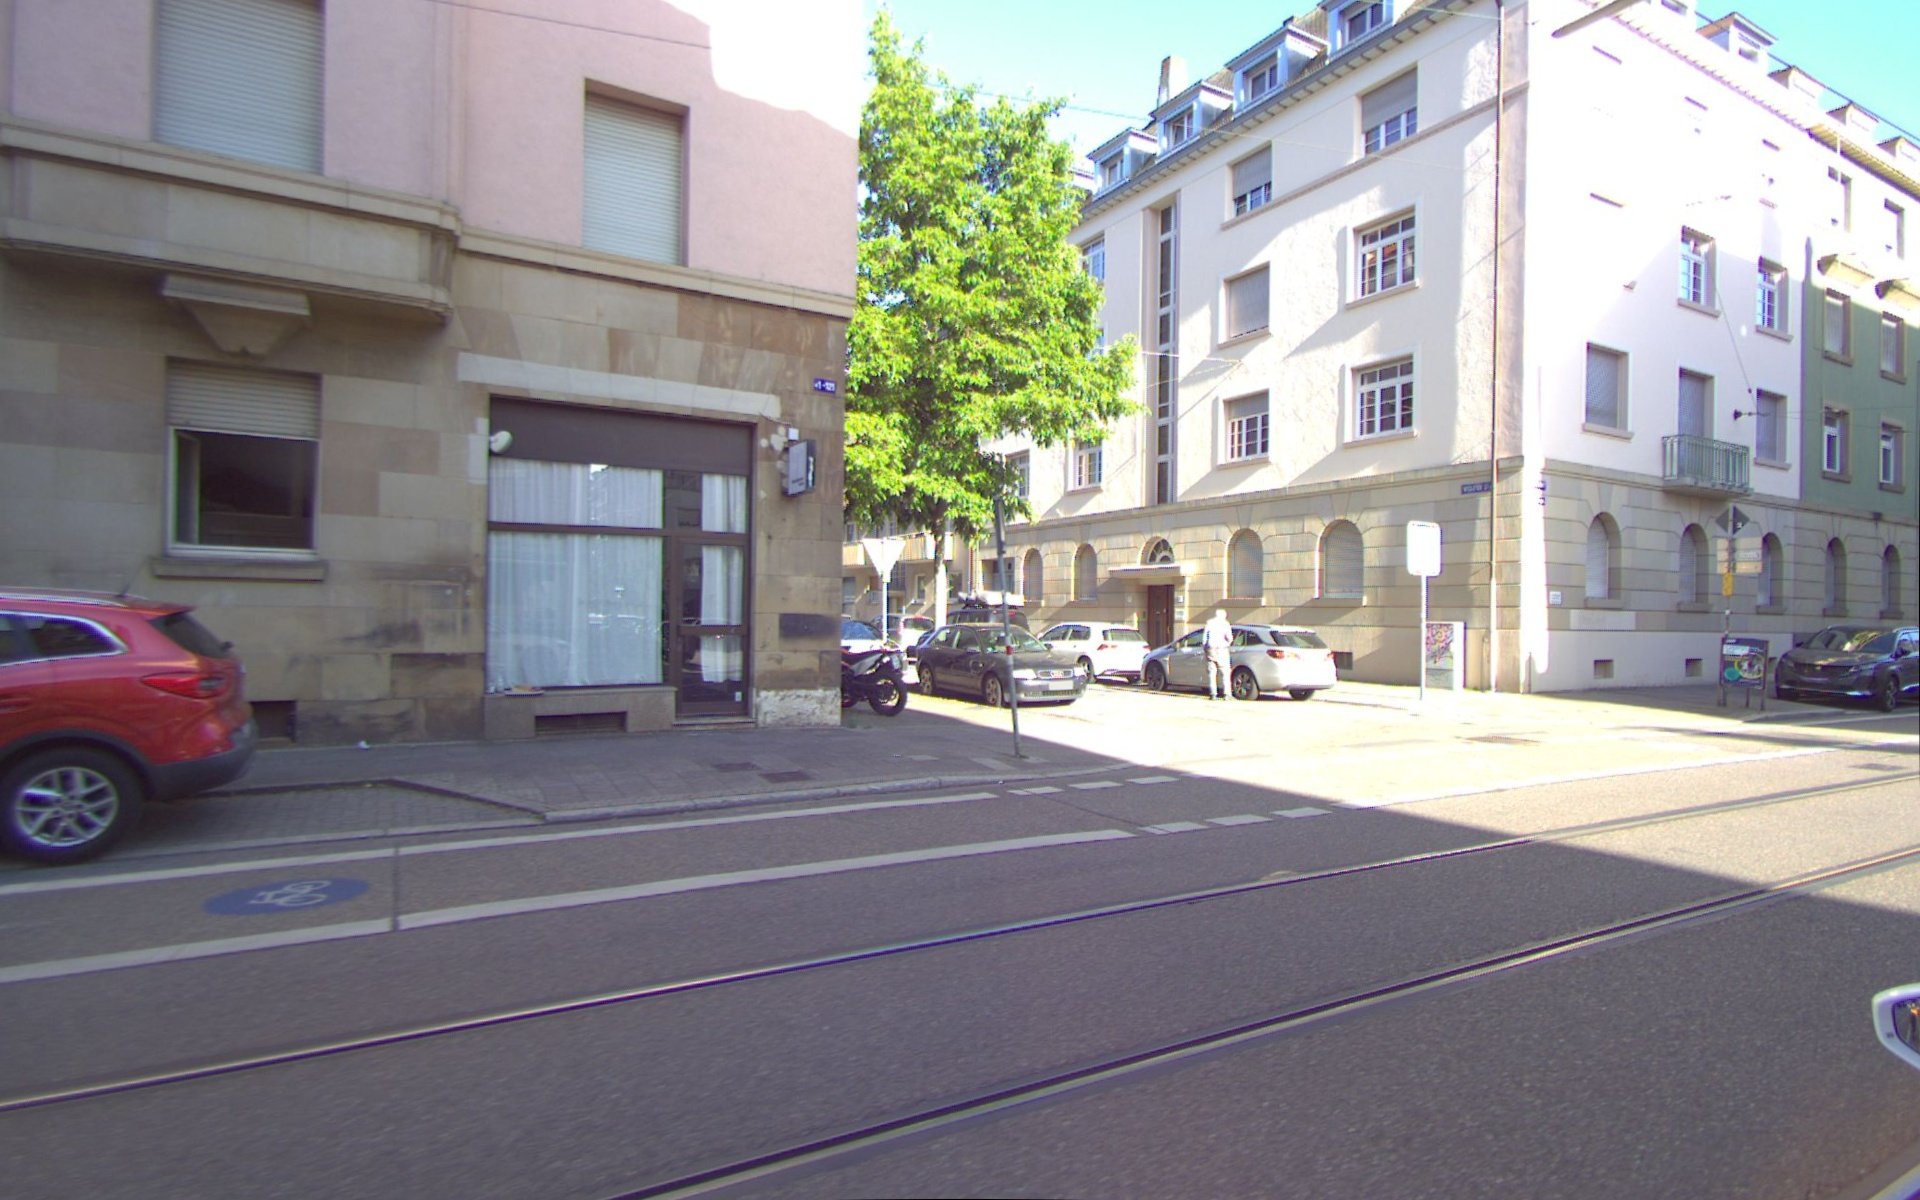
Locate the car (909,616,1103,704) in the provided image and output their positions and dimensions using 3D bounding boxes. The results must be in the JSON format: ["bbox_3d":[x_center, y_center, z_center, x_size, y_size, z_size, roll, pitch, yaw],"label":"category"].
[{"bbox_3d":[0.729,1.025,18.568,1.727,1.412,3.968,1,-1,-30],"label":"car"}]

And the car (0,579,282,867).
[{"bbox_3d":[-6.772,0.683,6.042,4.348,1.628,1.773,1,1,-32],"label":"car"}]

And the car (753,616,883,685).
[{"bbox_3d":[-3.450,1.124,23.820,1.727,1.413,3.968,0,0,-30],"label":"car"}]

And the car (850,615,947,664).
[{"bbox_3d":[-2.190,1.308,34.731,1.761,1.542,3.968,0,0,-30],"label":"car"}]

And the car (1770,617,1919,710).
[{"bbox_3d":[19.219,1.267,21.273,4.616,1.713,1.773,1,1,-32],"label":"car"}]

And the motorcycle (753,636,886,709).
[{"bbox_3d":[-2.183,1.104,15.599,1.995,1.049,0.557,0,-1,17],"label":"motorcycle"}]

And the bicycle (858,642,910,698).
[{"bbox_3d":[-1.424,1.271,18.610,0.468,0.945,1.782,1,-1,-21],"label":"bicycle"}]

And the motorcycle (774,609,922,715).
[{"bbox_3d":[-1.581,0.871,14.480,1.985,1.437,0.951,1,-1,0],"label":"motorcycle"}]

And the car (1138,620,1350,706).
[{"bbox_3d":[5.696,1.196,20.649,1.761,1.484,4.197,0,0,-30],"label":"car"}]

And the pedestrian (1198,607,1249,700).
[{"bbox_3d":[5.028,1.007,19.184,0.723,1.735,0.604,1,-1,-30],"label":"pedestrian"}]

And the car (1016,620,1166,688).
[{"bbox_3d":[3.199,1.288,25.201,1.819,1.484,3.778,0,0,-30],"label":"car"}]

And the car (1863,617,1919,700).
[{"bbox_3d":[23.633,1.385,23.903,4.472,1.840,1.775,1,1,-29],"label":"car"}]

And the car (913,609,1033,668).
[{"bbox_3d":[0.313,1.083,30.082,1.837,1.602,3.968,0,0,-30],"label":"car"}]
